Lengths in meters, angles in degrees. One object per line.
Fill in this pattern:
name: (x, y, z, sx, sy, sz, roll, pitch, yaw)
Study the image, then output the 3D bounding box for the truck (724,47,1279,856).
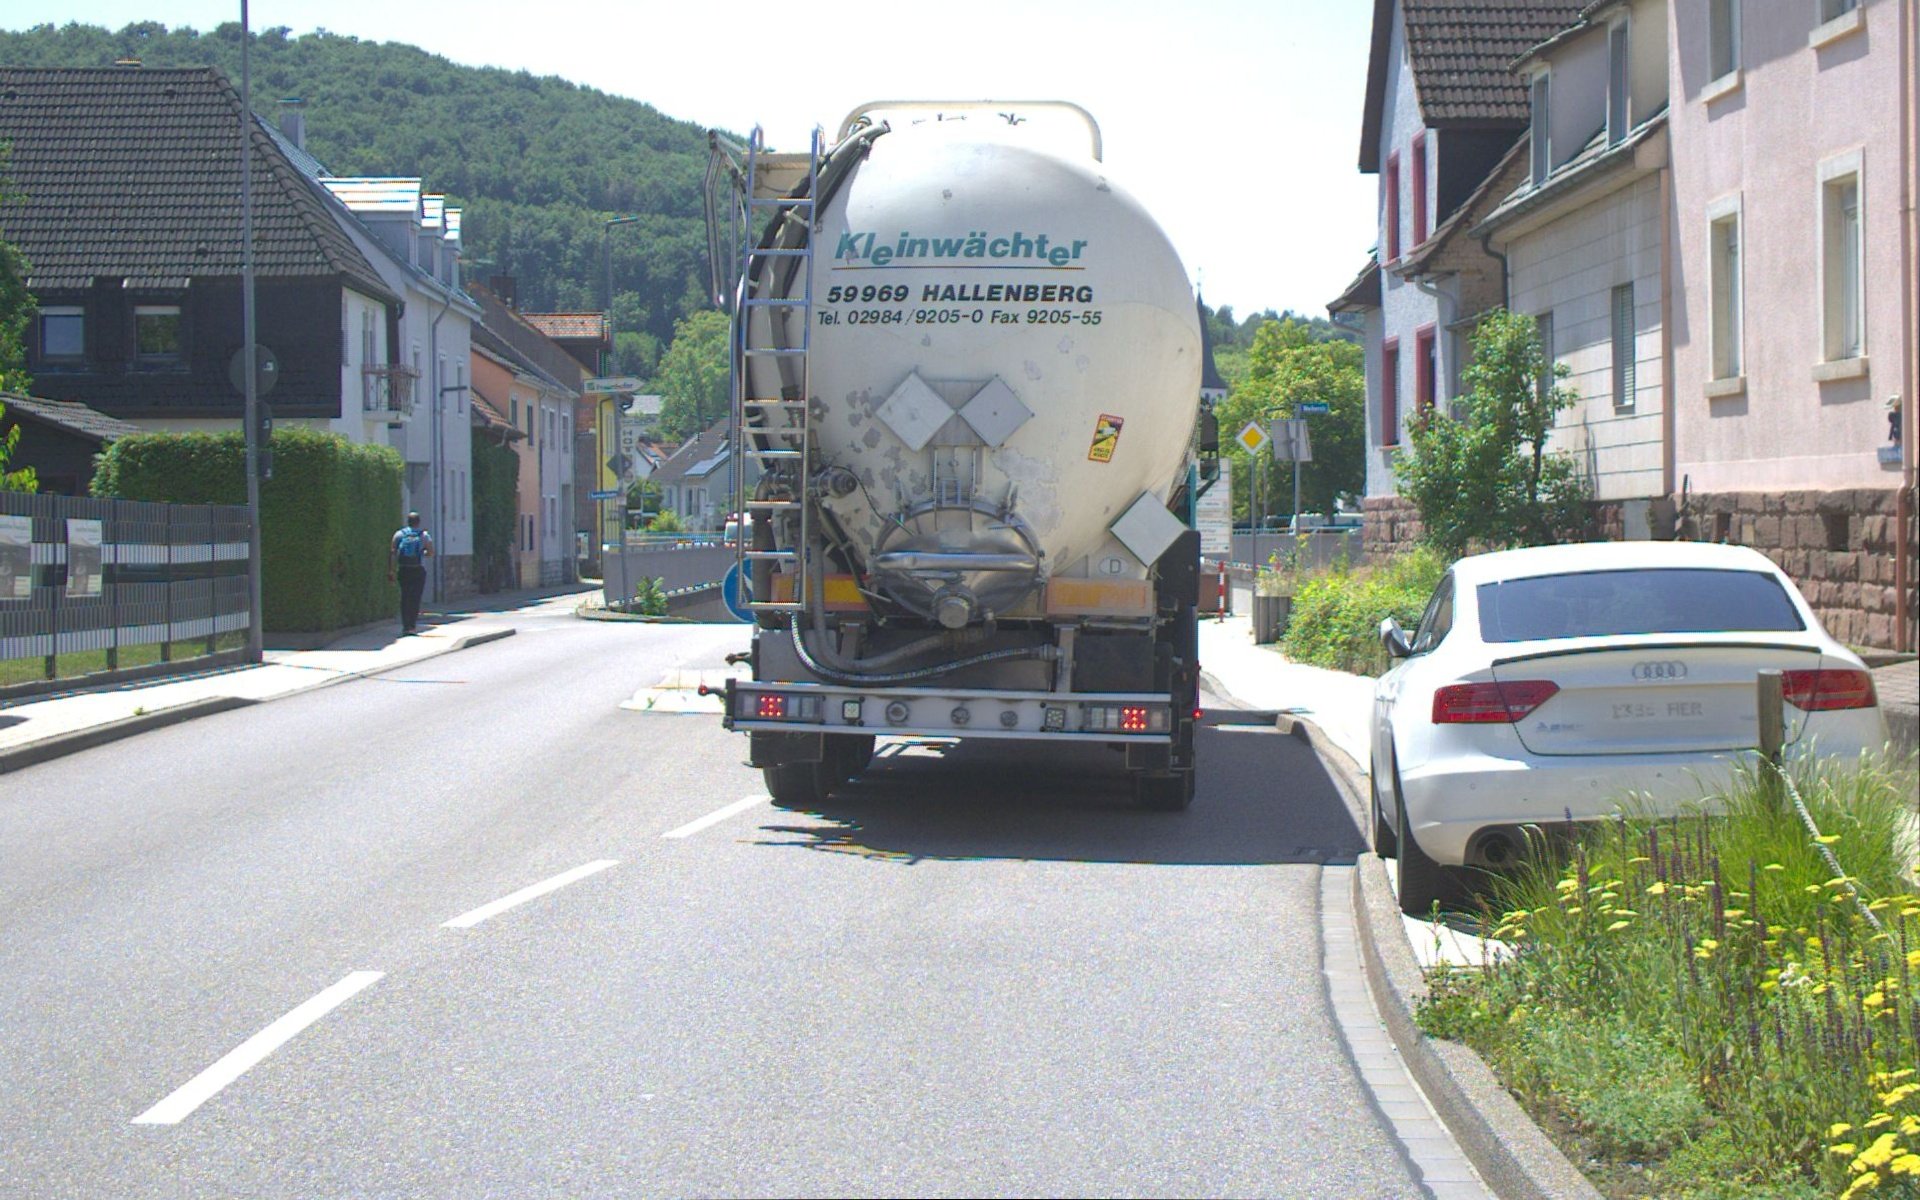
truck: (0.013, -0.839, 22.798, 2.750, 4.043, 10.890, 1, 1, -2)

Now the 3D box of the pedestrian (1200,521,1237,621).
pedestrian: (4.410, -0.497, 58.705, 0.571, 1.688, 0.721, 1, 0, 3)

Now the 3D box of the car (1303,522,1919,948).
car: (2.525, 0.481, 14.207, 1.756, 1.413, 4.632, -2, 0, 1)

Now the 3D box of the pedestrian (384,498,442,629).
pedestrian: (-7.761, -0.513, 48.777, 0.712, 1.817, 0.898, 2, 0, -5)
